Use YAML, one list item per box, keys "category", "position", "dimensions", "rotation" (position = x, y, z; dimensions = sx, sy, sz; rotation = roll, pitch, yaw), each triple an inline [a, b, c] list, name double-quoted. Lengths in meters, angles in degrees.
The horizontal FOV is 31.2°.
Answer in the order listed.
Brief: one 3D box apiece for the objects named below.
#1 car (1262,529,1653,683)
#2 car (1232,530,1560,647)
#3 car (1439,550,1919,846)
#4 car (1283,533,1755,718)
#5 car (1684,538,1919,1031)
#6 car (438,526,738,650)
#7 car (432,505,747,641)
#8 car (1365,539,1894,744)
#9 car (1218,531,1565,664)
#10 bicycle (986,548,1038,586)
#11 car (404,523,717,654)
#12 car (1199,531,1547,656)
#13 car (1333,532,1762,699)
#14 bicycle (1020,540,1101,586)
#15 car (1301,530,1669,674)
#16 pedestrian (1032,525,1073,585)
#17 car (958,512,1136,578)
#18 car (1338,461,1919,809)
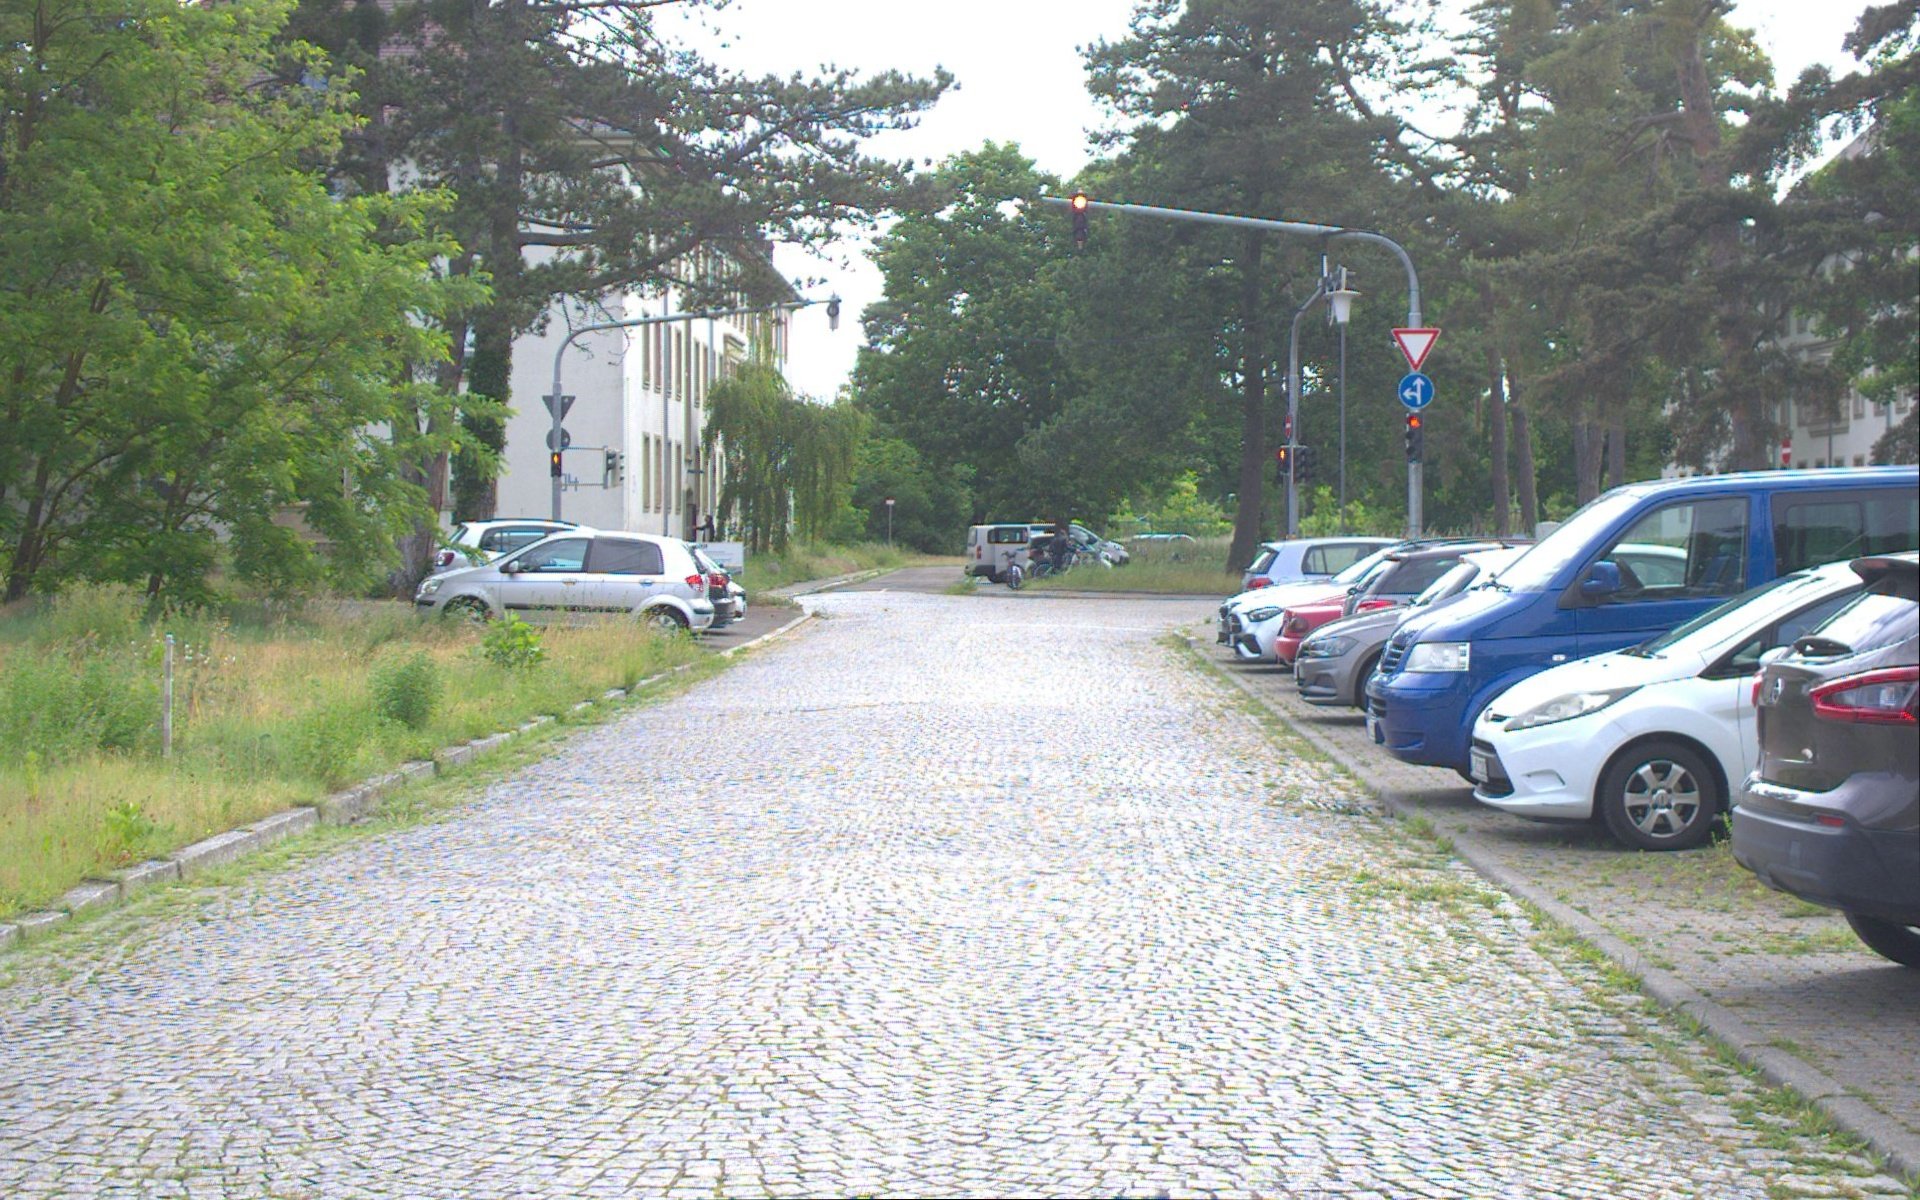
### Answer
- category: "car"
  position: [4.944, 0.047, 34.467]
  dimensions: [3.672, 1.444, 1.524]
  rotation: [-1, 1, 0]
- category: "car"
  position: [5.613, -0.162, 44.495]
  dimensions: [3.967, 1.416, 1.620]
  rotation: [-1, 1, -3]
- category: "car"
  position: [4.495, 0.474, 18.133]
  dimensions: [3.671, 1.444, 1.615]
  rotation: [-1, 1, -1]
- category: "car"
  position: [4.629, 0.199, 28.780]
  dimensions: [3.672, 1.444, 1.524]
  rotation: [-1, 1, 0]
- category: "car"
  position: [4.693, 0.539, 11.749]
  dimensions: [4.028, 1.547, 1.751]
  rotation: [-1, 1, -1]
- category: "car"
  position: [-4.957, -0.169, 46.112]
  dimensions: [3.821, 1.567, 1.564]
  rotation: [-1, 1, 1]
- category: "car"
  position: [-5.257, -0.392, 49.105]
  dimensions: [4.262, 1.834, 1.744]
  rotation: [-1, 1, 1]
- category: "car"
  position: [5.007, 0.290, 25.992]
  dimensions: [3.672, 1.444, 1.524]
  rotation: [-1, 1, 0]
- category: "car"
  position: [4.866, -0.041, 39.007]
  dimensions: [3.671, 1.416, 1.524]
  rotation: [-1, 1, -3]
- category: "bicycle"
  position: [1.351, -0.859, 89.474]
  dimensions: [0.620, 0.941, 1.663]
  rotation: [1, 1, -27]
- category: "car"
  position: [-5.039, -0.159, 43.696]
  dimensions: [3.821, 1.567, 1.564]
  rotation: [-1, 1, -2]
- category: "car"
  position: [4.998, -0.094, 41.860]
  dimensions: [3.967, 1.416, 1.620]
  rotation: [-1, 1, -3]
- category: "car"
  position: [5.379, 0.127, 31.750]
  dimensions: [3.672, 1.444, 1.524]
  rotation: [-1, 1, 0]
- category: "bicycle"
  position: [2.725, -1.013, 93.507]
  dimensions: [2.136, 1.210, 0.622]
  rotation: [1, 1, -3]
- category: "car"
  position: [5.571, 0.010, 36.736]
  dimensions: [3.672, 1.444, 1.524]
  rotation: [-1, 1, 0]
- category: "pedestrian"
  position: [2.533, -1.228, 93.851]
  dimensions: [1.033, 1.608, 0.757]
  rotation: [1, 1, -3]
- category: "car"
  position: [2.794, -1.789, 111.411]
  dimensions: [5.444, 2.007, 2.269]
  rotation: [1, 1, -8]
- category: "car"
  position: [4.783, 0.171, 20.714]
  dimensions: [4.754, 1.948, 1.931]
  rotation: [-1, 1, 0]
